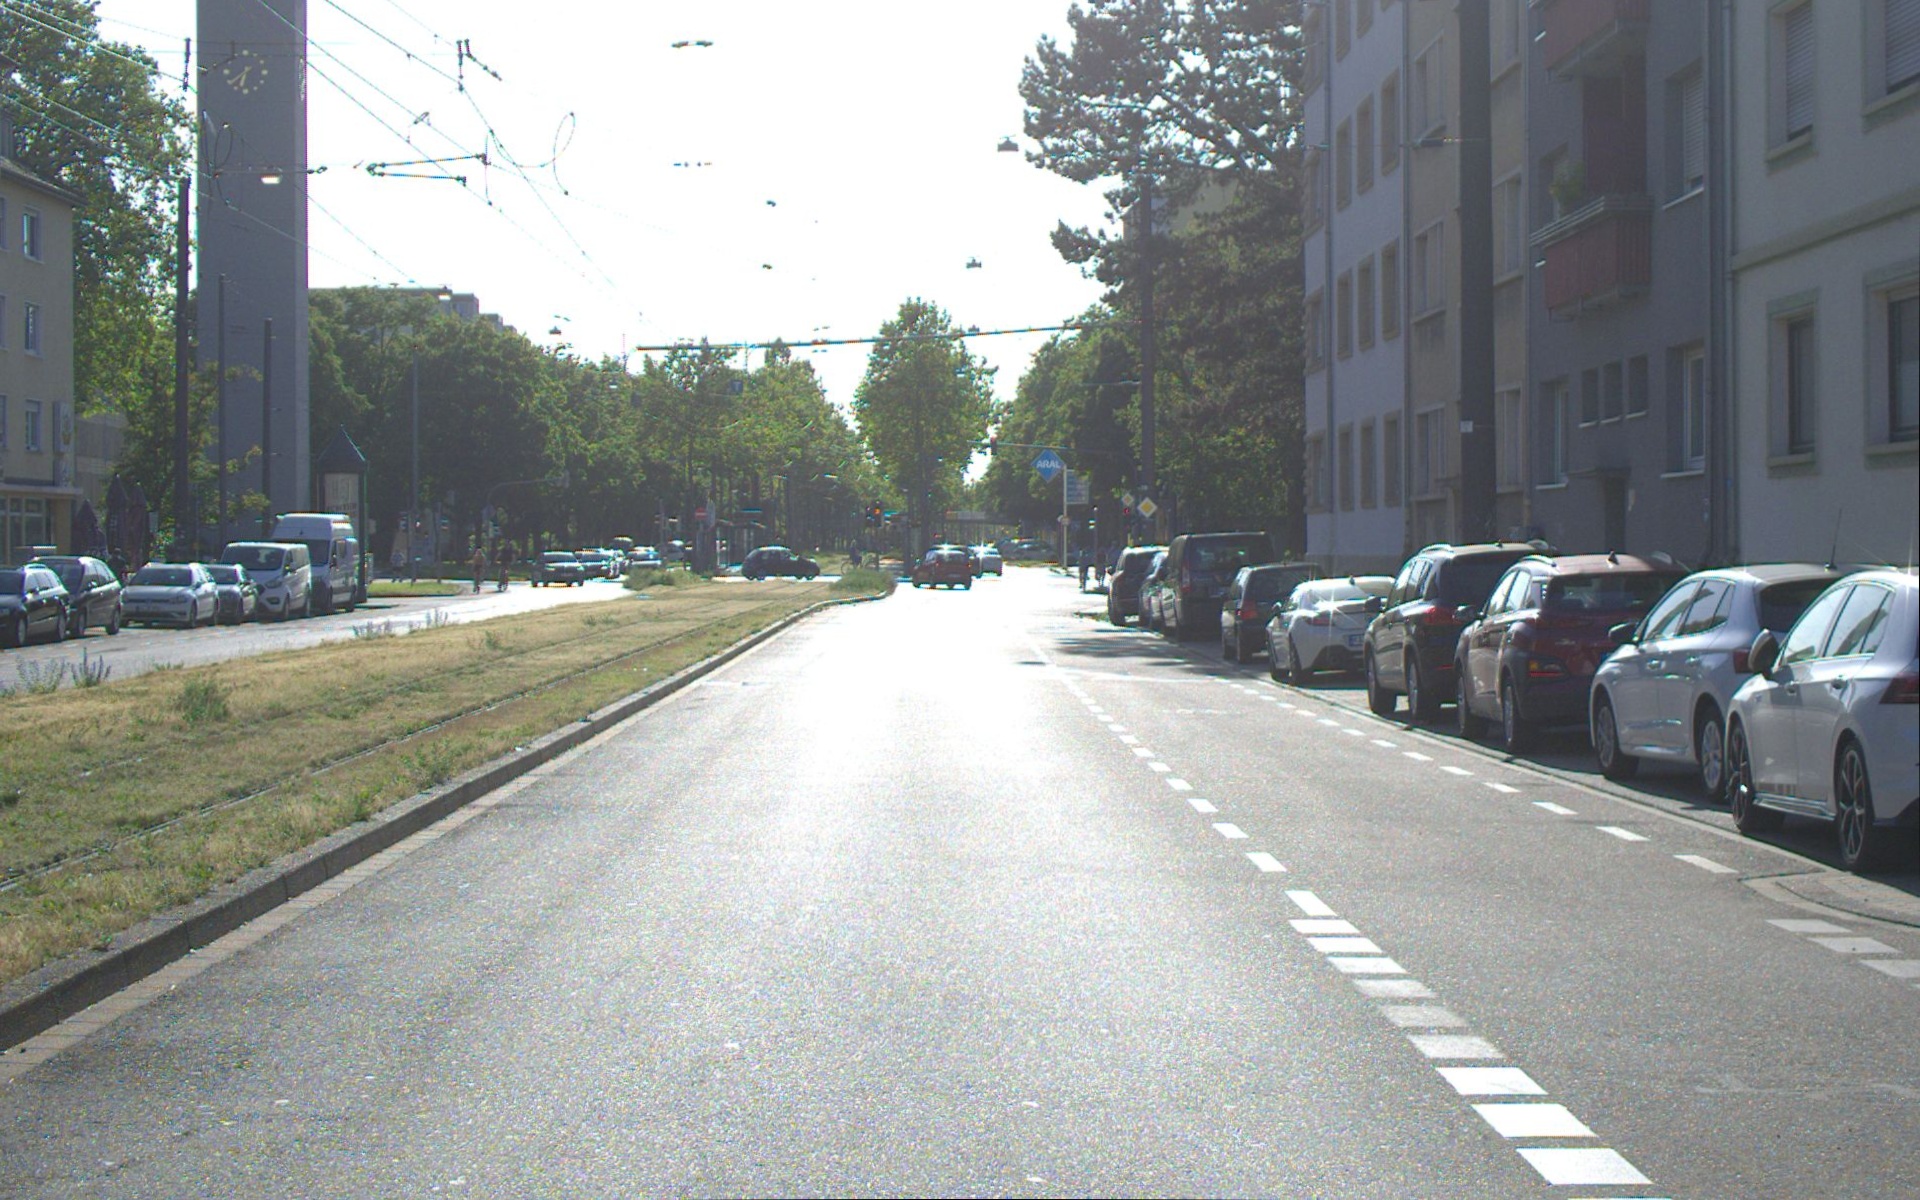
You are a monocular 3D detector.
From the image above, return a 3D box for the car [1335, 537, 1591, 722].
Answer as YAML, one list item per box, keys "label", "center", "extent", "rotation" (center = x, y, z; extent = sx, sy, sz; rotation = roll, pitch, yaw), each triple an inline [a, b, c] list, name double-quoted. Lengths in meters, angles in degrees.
- label: "car"
  center: [4.885, 0.234, 33.936]
  extent: [1.635, 1.642, 4.374]
  rotation: [-2, 1, -3]

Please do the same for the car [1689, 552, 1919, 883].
- label: "car"
  center: [5.054, 0.494, 17.621]
  extent: [1.694, 1.453, 4.379]
  rotation: [-1, 1, 0]

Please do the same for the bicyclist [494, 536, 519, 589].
- label: "bicyclist"
  center: [-17.514, -1.448, 132.800]
  extent: [0.773, 2.007, 0.648]
  rotation: [3, 1, 0]

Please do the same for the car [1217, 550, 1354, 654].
- label: "car"
  center: [4.896, -0.003, 52.112]
  extent: [1.635, 1.449, 3.789]
  rotation: [-2, 1, 0]

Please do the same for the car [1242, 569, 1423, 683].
- label: "car"
  center: [4.744, 0.296, 44.312]
  extent: [1.702, 1.271, 4.304]
  rotation: [-4, 1, -1]

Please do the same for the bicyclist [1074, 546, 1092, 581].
- label: "bicyclist"
  center: [4.736, -1.411, 132.573]
  extent: [0.638, 1.318, 0.803]
  rotation: [3, 1, 2]

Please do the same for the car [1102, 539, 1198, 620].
- label: "car"
  center: [4.315, -0.492, 78.740]
  extent: [1.879, 1.711, 4.934]
  rotation: [-3, 1, 1]

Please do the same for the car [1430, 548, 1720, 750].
- label: "car"
  center: [5.009, 0.346, 28.490]
  extent: [1.635, 1.512, 4.188]
  rotation: [-1, 1, 0]

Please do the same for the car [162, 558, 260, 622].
- label: "car"
  center: [-18.681, -0.276, 85.917]
  extent: [1.694, 1.510, 4.327]
  rotation: [1, 1, -3]

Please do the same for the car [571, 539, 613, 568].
- label: "car"
  center: [-19.645, -2.458, 183.510]
  extent: [1.806, 1.528, 4.361]
  rotation: [0, 1, 0]

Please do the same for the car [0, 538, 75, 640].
- label: "car"
  center: [-18.428, -0.257, 65.362]
  extent: [1.993, 1.831, 4.609]
  rotation: [2, 1, 0]

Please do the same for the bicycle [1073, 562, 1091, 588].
- label: "bicycle"
  center: [4.705, -0.974, 132.523]
  extent: [0.648, 0.969, 1.803]
  rotation: [3, 1, 3]

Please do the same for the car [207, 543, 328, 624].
- label: "car"
  center: [-18.435, -0.471, 91.728]
  extent: [2.032, 2.014, 5.370]
  rotation: [3, 1, 1]

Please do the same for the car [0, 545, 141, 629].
- label: "car"
  center: [-18.405, -0.293, 70.899]
  extent: [1.993, 1.602, 4.151]
  rotation: [3, 1, 0]

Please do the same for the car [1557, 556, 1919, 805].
- label: "car"
  center: [5.270, 0.459, 22.763]
  extent: [1.635, 1.453, 4.082]
  rotation: [-1, 1, -4]

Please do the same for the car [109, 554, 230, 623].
- label: "car"
  center: [-18.462, -0.298, 80.489]
  extent: [1.892, 1.486, 4.704]
  rotation: [2, 1, -2]

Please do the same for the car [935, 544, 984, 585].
- label: "car"
  center: [-0.027, -1.413, 135.061]
  extent: [1.694, 1.503, 3.699]
  rotation: [2, 1, -2]

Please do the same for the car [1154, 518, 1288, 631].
- label: "car"
  center: [4.773, -0.483, 63.506]
  extent: [1.913, 1.893, 5.135]
  rotation: [-3, 1, -1]

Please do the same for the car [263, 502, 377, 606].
- label: "car"
  center: [-18.515, -1.339, 99.685]
  extent: [2.032, 2.859, 6.228]
  rotation: [1, 1, 1]

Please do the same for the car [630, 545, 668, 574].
- label: "car"
  center: [-16.633, -2.198, 184.042]
  extent: [1.687, 1.528, 4.361]
  rotation: [0, 1, 0]

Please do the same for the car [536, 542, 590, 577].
- label: "car"
  center: [-16.746, -1.713, 145.168]
  extent: [1.694, 1.443, 4.217]
  rotation: [-1, 1, 0]
